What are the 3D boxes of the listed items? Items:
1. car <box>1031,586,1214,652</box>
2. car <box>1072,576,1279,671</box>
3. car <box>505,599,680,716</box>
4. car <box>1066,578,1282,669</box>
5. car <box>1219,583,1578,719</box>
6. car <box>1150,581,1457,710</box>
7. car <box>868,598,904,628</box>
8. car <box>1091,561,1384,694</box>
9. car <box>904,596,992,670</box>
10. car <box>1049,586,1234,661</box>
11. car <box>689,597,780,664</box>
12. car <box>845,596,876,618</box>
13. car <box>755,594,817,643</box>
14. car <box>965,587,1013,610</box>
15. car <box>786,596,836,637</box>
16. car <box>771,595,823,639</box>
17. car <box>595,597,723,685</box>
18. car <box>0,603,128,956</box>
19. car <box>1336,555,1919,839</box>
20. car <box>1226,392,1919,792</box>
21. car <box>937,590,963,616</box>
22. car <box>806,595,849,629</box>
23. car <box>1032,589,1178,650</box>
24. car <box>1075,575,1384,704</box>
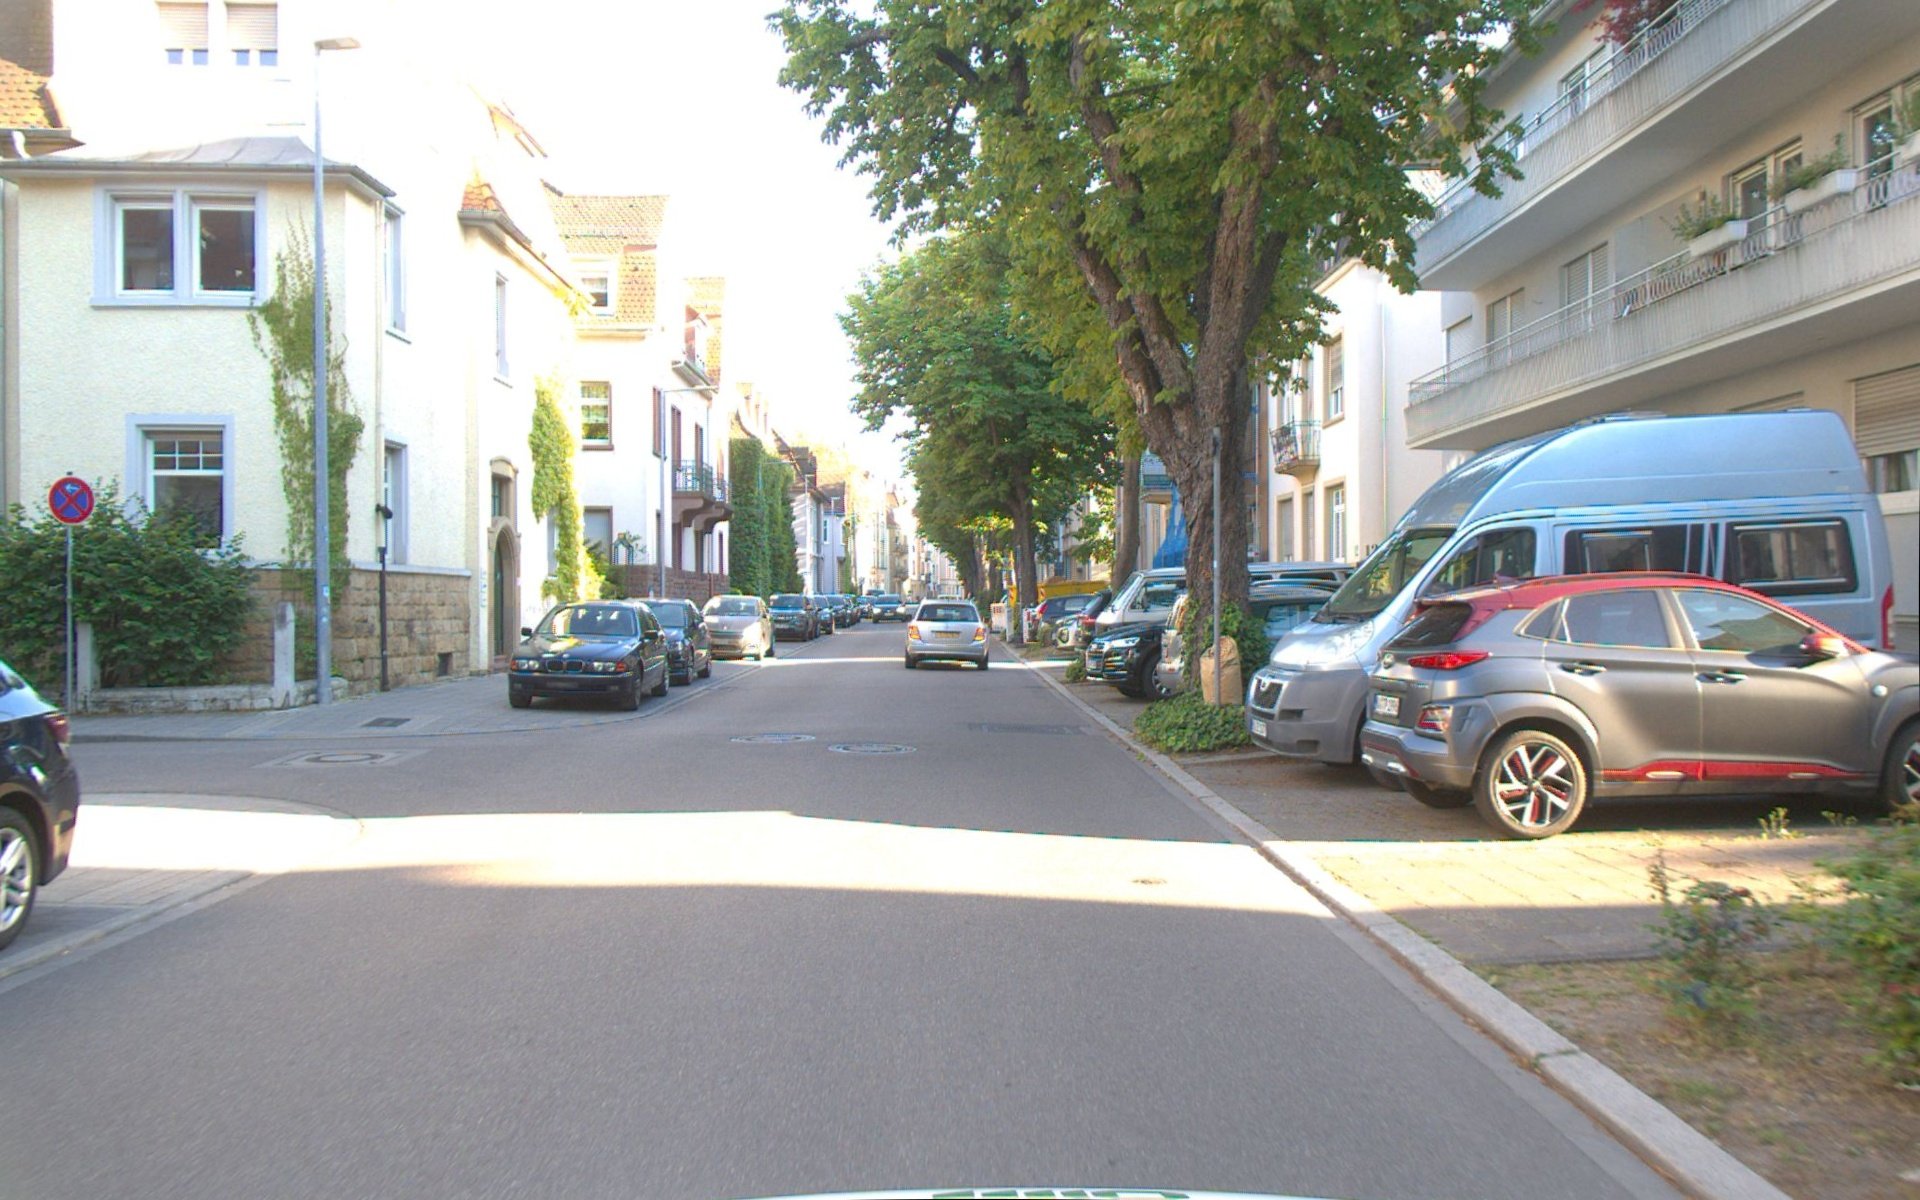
[{"bbox_3d":[4.265,0.490,43.910,4.622,1.562,1.850,-2,0,-1],"label":"car"},{"bbox_3d":[4.181,0.441,32.565,3.867,1.712,1.706,-2,1,2],"label":"car"},{"bbox_3d":[-5.225,0.756,24.076,1.675,1.496,4.631,1,0,-3],"label":"car"},{"bbox_3d":[4.415,0.470,34.537,4.244,1.712,1.705,-2,1,-2],"label":"car"},{"bbox_3d":[4.987,0.579,19.142,3.646,1.456,1.758,-1,-1,-3],"label":"car"},{"bbox_3d":[4.429,0.576,21.657,3.646,1.581,1.638,-1,0,-3],"label":"car"},{"bbox_3d":[-3.900,0.667,87.623,1.736,1.474,3.999,-1,0,-1],"label":"car"},{"bbox_3d":[4.415,0.423,26.754,4.380,2.049,1.895,0,0,-3],"label":"car"},{"bbox_3d":[-0.249,0.671,35.134,1.747,1.462,3.850,1,-1,0],"label":"car"},{"bbox_3d":[4.220,0.538,38.885,4.071,1.566,1.850,-2,0,-1],"label":"car"},{"bbox_3d":[-5.324,0.680,39.439,1.620,1.472,4.004,1,0,-1],"label":"car"},{"bbox_3d":[-6.316,0.442,105.314,1.619,1.347,4.046,1,0,1],"label":"car"},{"bbox_3d":[-5.592,0.572,53.606,1.620,1.512,3.764,1,0,-1],"label":"car"},{"bbox_3d":[2.570,-0.110,148.283,4.135,1.929,1.904,-2,0,-3],"label":"car"},{"bbox_3d":[-5.713,0.599,63.966,1.757,1.487,4.774,1,0,-3],"label":"car"},{"bbox_3d":[-5.646,0.563,57.664,1.620,1.472,3.842,1,0,-3],"label":"car"},{"bbox_3d":[-5.343,0.677,29.805,1.620,1.440,4.166,1,0,-2],"label":"car"},{"bbox_3d":[-4.851,0.761,5.725,1.620,1.479,4.630,1,0,-1],"label":"car"},{"bbox_3d":[4.765,0.560,10.911,4.105,1.596,1.758,-2,0,-3],"label":"car"},{"bbox_3d":[4.905,-0.084,13.668,4.992,2.953,2.075,-1,0,-2],"label":"car"},{"bbox_3d":[-0.639,0.168,105.924,1.590,1.597,3.680,0,0,0],"label":"car"},{"bbox_3d":[-5.991,0.529,75.124,1.616,1.445,4.098,1,0,-1],"label":"car"},{"bbox_3d":[4.024,0.524,46.258,3.905,1.518,1.851,-2,0,0],"label":"car"},{"bbox_3d":[3.866,0.549,24.052,4.097,1.754,1.762,-1,0,-8],"label":"car"}]
